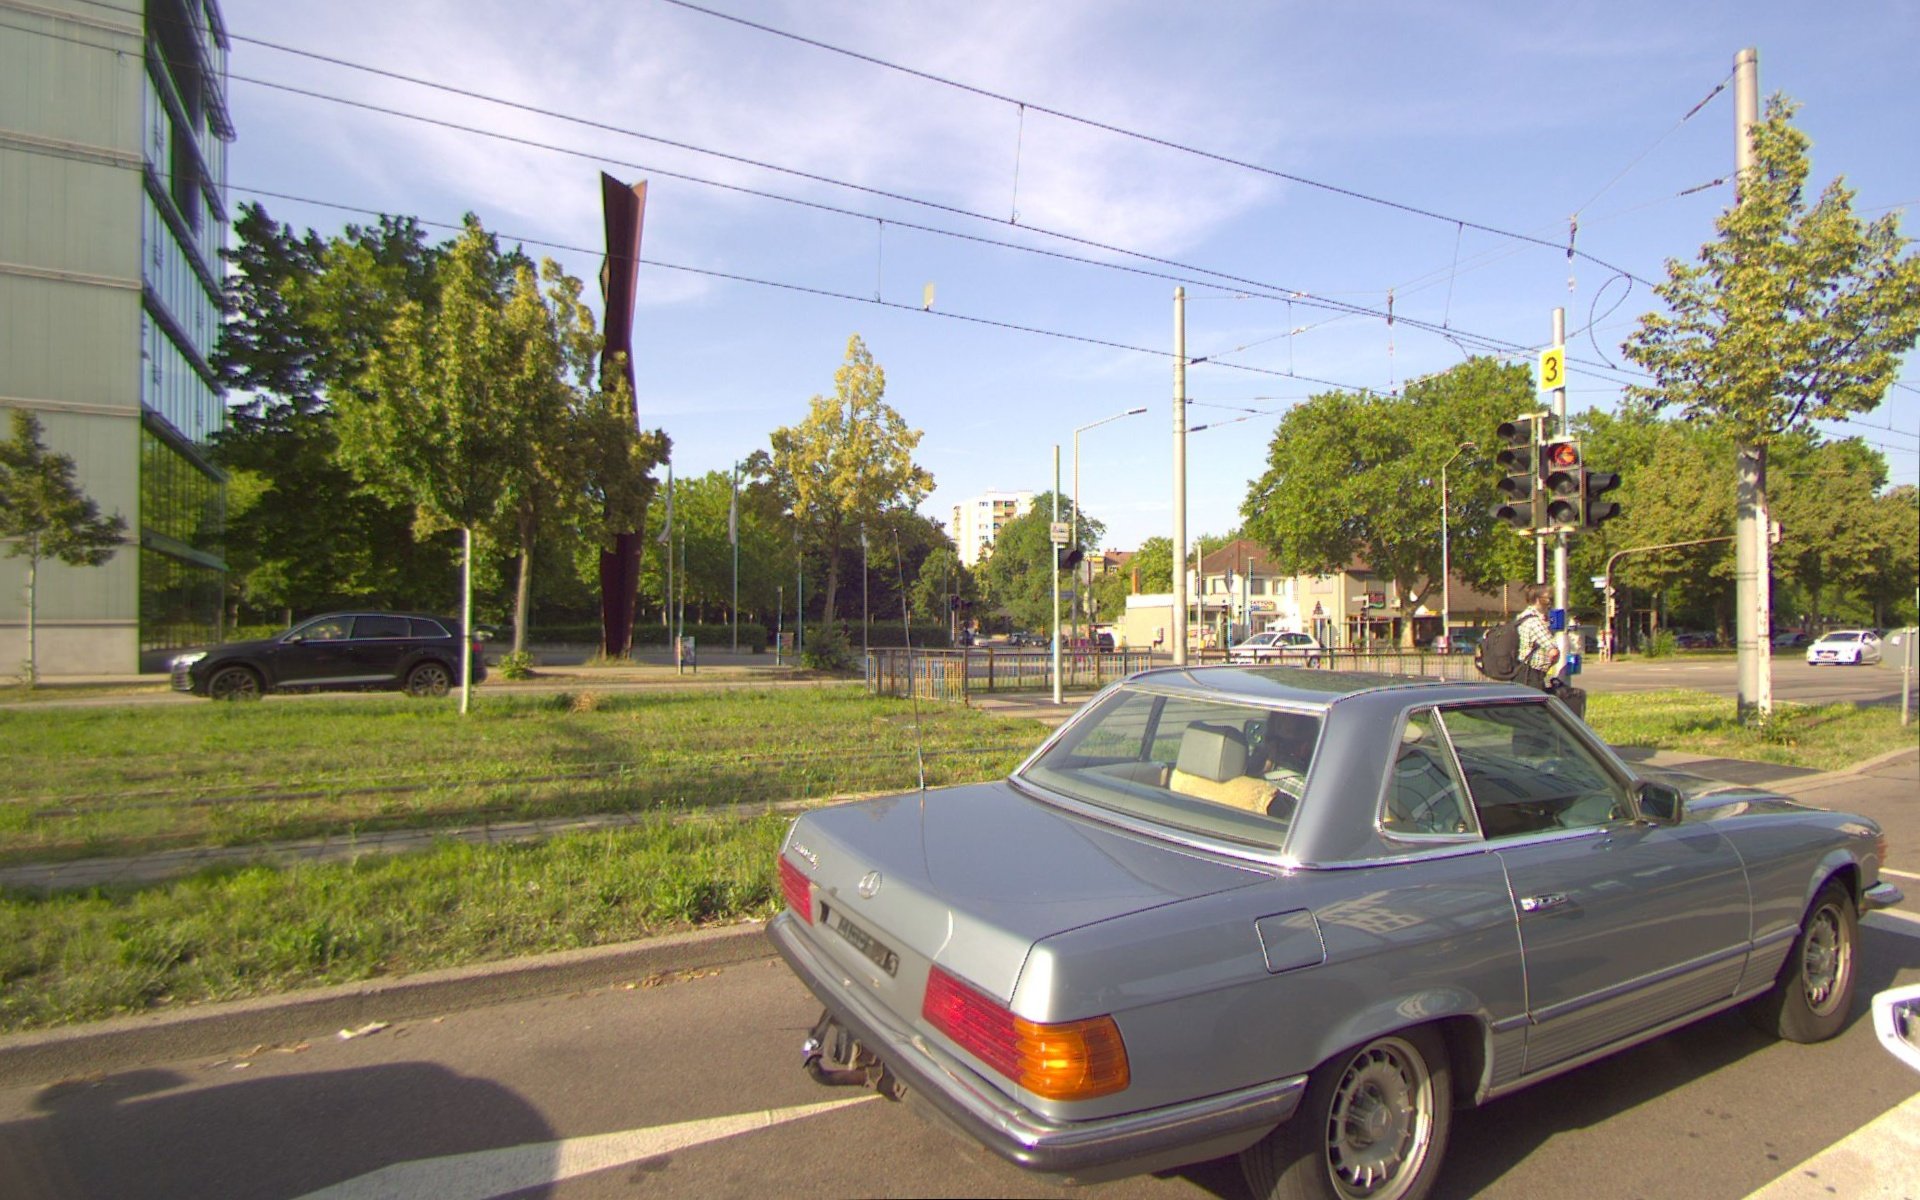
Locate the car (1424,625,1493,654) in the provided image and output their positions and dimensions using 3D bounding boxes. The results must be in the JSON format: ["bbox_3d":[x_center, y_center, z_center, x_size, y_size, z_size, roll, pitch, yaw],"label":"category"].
[{"bbox_3d":[31.919,2.524,64.314,3.945,1.773,1.876,1,-2,-25],"label":"car"}]

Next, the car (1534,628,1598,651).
[{"bbox_3d":[41.560,2.703,68.941,3.945,1.580,1.876,1,-2,-25],"label":"car"}]

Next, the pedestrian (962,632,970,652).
[{"bbox_3d":[0.498,3.386,81.002,0.654,1.654,0.664,0,-1,-1],"label":"pedestrian"}]

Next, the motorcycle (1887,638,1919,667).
[{"bbox_3d":[44.708,2.452,47.416,2.521,1.280,0.814,1,0,-33],"label":"motorcycle"}]

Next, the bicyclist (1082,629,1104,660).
[{"bbox_3d":[6.475,2.179,49.077,0.837,1.512,0.697,-1,-2,38],"label":"bicyclist"}]

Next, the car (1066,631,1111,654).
[{"bbox_3d":[10.267,3.377,80.568,1.971,1.750,3.979,1,-2,-22],"label":"car"}]

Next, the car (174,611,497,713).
[{"bbox_3d":[-11.555,1.074,18.944,4.940,1.707,1.982,1,-1,-33],"label":"car"}]

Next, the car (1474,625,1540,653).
[{"bbox_3d":[36.156,2.560,66.361,3.945,1.773,1.876,1,-2,-25],"label":"car"}]

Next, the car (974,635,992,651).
[{"bbox_3d":[2.611,4.886,115.061,1.961,1.806,4.000,0,-1,-1],"label":"car"}]

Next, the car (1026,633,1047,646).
[{"bbox_3d":[8.603,4.440,113.168,1.667,1.491,3.941,0,-1,-7],"label":"car"}]

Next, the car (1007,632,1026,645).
[{"bbox_3d":[7.057,4.777,124.797,1.667,1.491,3.941,0,-1,-7],"label":"car"}]

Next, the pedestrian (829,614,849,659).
[{"bbox_3d":[-5.875,1.781,48.891,0.864,2.135,0.724,-1,-3,0],"label":"pedestrian"}]

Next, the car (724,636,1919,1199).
[{"bbox_3d":[1.561,0.864,3.519,4.349,1.348,1.755,0,1,-31],"label":"car"}]

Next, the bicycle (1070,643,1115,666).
[{"bbox_3d":[6.462,2.646,49.075,2.168,1.055,0.697,-1,-2,39],"label":"bicycle"}]

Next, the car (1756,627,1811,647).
[{"bbox_3d":[66.420,3.000,81.041,3.945,1.580,1.876,1,-2,-25],"label":"car"}]

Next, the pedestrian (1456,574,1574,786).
[{"bbox_3d":[4.997,0.691,9.061,0.627,1.816,0.696,1,0,-29],"label":"pedestrian"}]

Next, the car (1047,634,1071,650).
[{"bbox_3d":[10.002,4.219,101.645,1.667,1.491,3.941,0,-1,-7],"label":"car"}]

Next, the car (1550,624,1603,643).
[{"bbox_3d":[50.698,2.757,82.633,3.945,1.580,1.876,1,-2,-25],"label":"car"}]

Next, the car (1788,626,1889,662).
[{"bbox_3d":[38.129,1.943,43.604,4.042,1.523,1.986,2,-4,-28],"label":"car"}]

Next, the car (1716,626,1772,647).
[{"bbox_3d":[61.421,2.871,78.716,3.945,1.580,1.876,1,-2,-25],"label":"car"}]

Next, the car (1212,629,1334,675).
[{"bbox_3d":[11.296,1.826,36.224,4.172,1.548,1.869,0,-1,-29],"label":"car"}]
